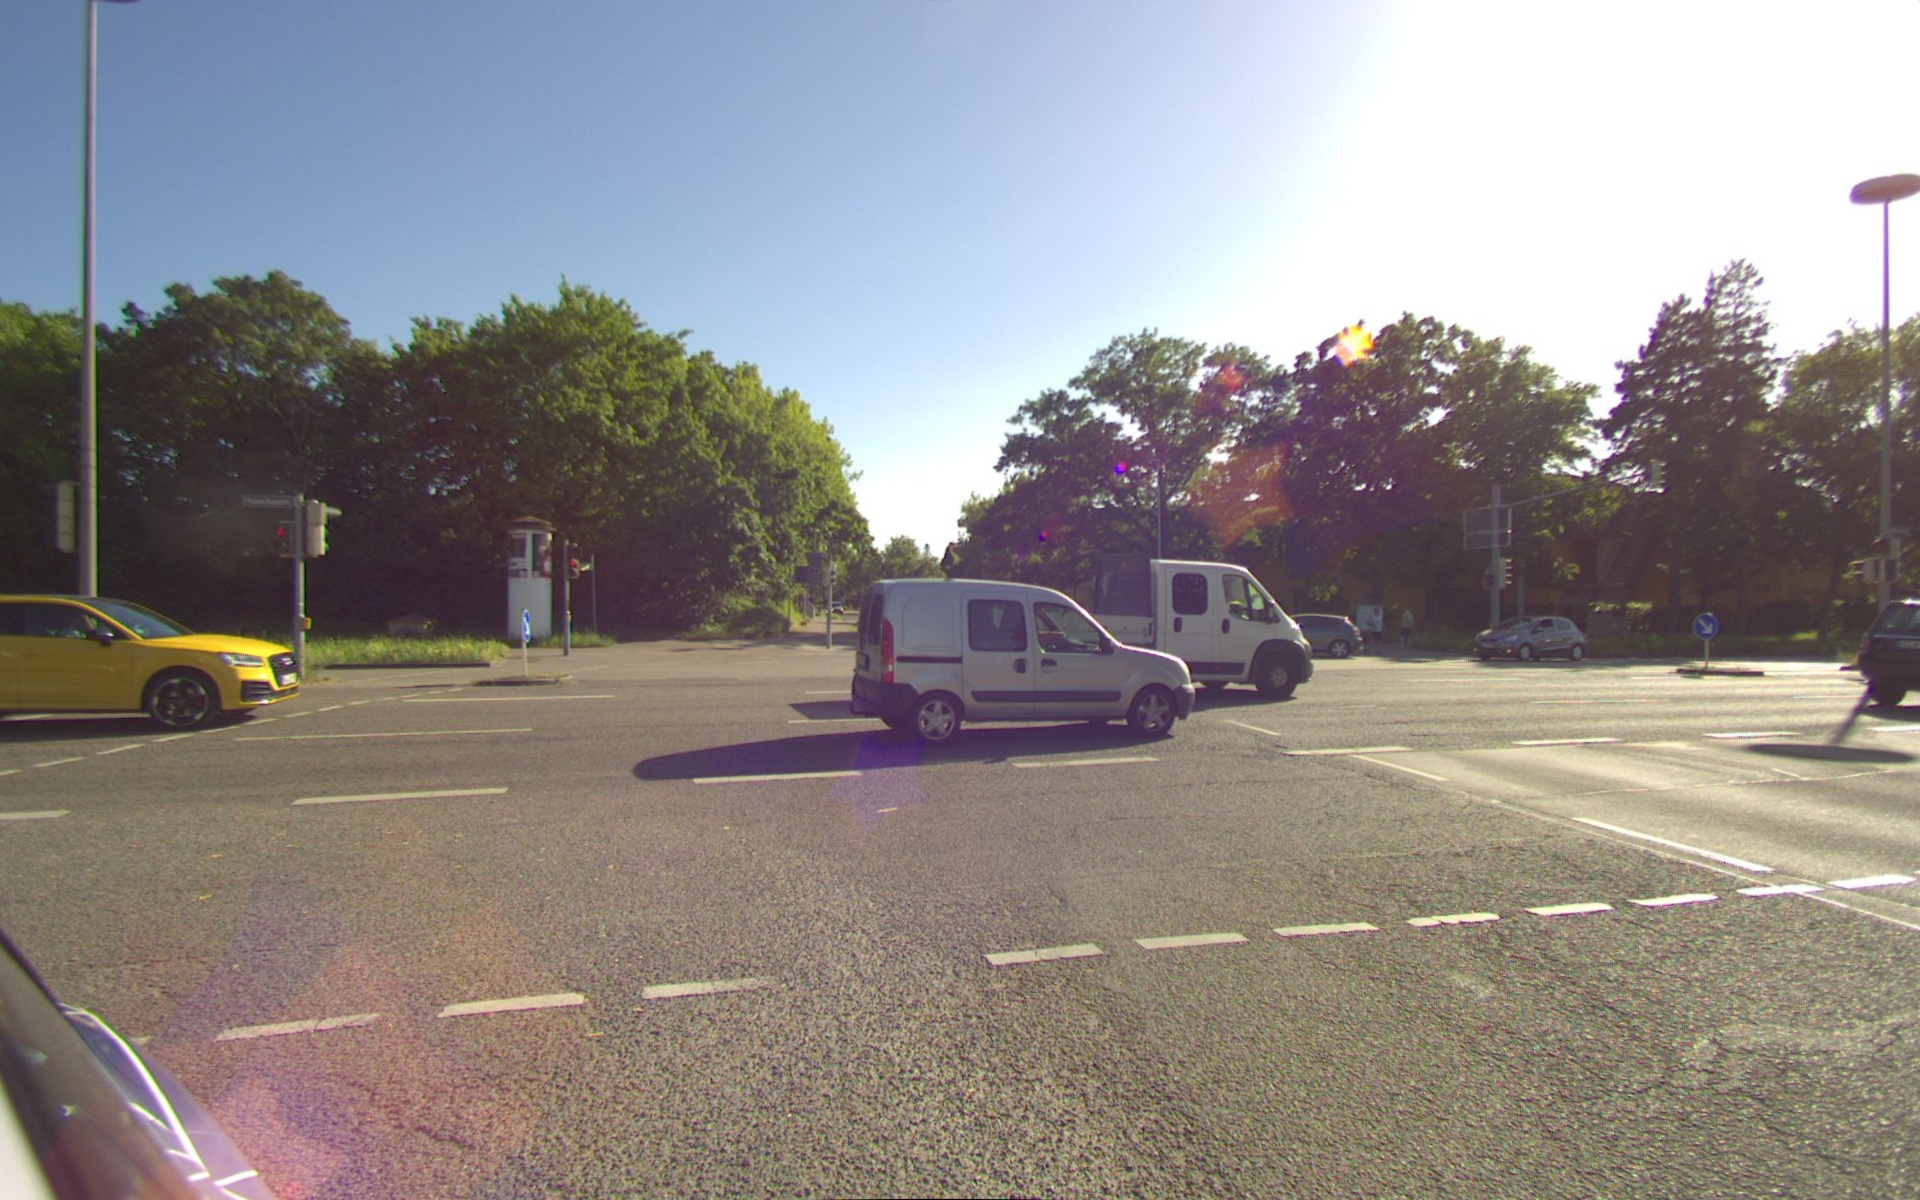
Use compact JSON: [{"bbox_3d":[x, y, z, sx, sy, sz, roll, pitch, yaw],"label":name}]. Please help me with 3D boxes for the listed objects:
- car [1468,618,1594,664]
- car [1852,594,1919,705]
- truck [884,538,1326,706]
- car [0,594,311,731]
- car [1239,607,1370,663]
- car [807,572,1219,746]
[{"bbox_3d":[18.686,1.338,33.143,3.536,1.443,1.557,1,-1,-16],"label":"car"},{"bbox_3d":[16.690,0.785,16.013,4.317,1.696,1.833,1,0,-16],"label":"car"},{"bbox_3d":[2.309,0.361,16.120,6.658,2.327,2.198,1,-1,-18],"label":"truck"},{"bbox_3d":[-10.110,0.675,11.713,4.050,1.451,1.698,1,0,-17],"label":"car"},{"bbox_3d":[11.680,1.160,34.622,4.067,1.665,1.800,2,1,15],"label":"car"},{"bbox_3d":[0.548,0.596,11.666,4.290,1.741,1.927,1,1,-17],"label":"car"}]
